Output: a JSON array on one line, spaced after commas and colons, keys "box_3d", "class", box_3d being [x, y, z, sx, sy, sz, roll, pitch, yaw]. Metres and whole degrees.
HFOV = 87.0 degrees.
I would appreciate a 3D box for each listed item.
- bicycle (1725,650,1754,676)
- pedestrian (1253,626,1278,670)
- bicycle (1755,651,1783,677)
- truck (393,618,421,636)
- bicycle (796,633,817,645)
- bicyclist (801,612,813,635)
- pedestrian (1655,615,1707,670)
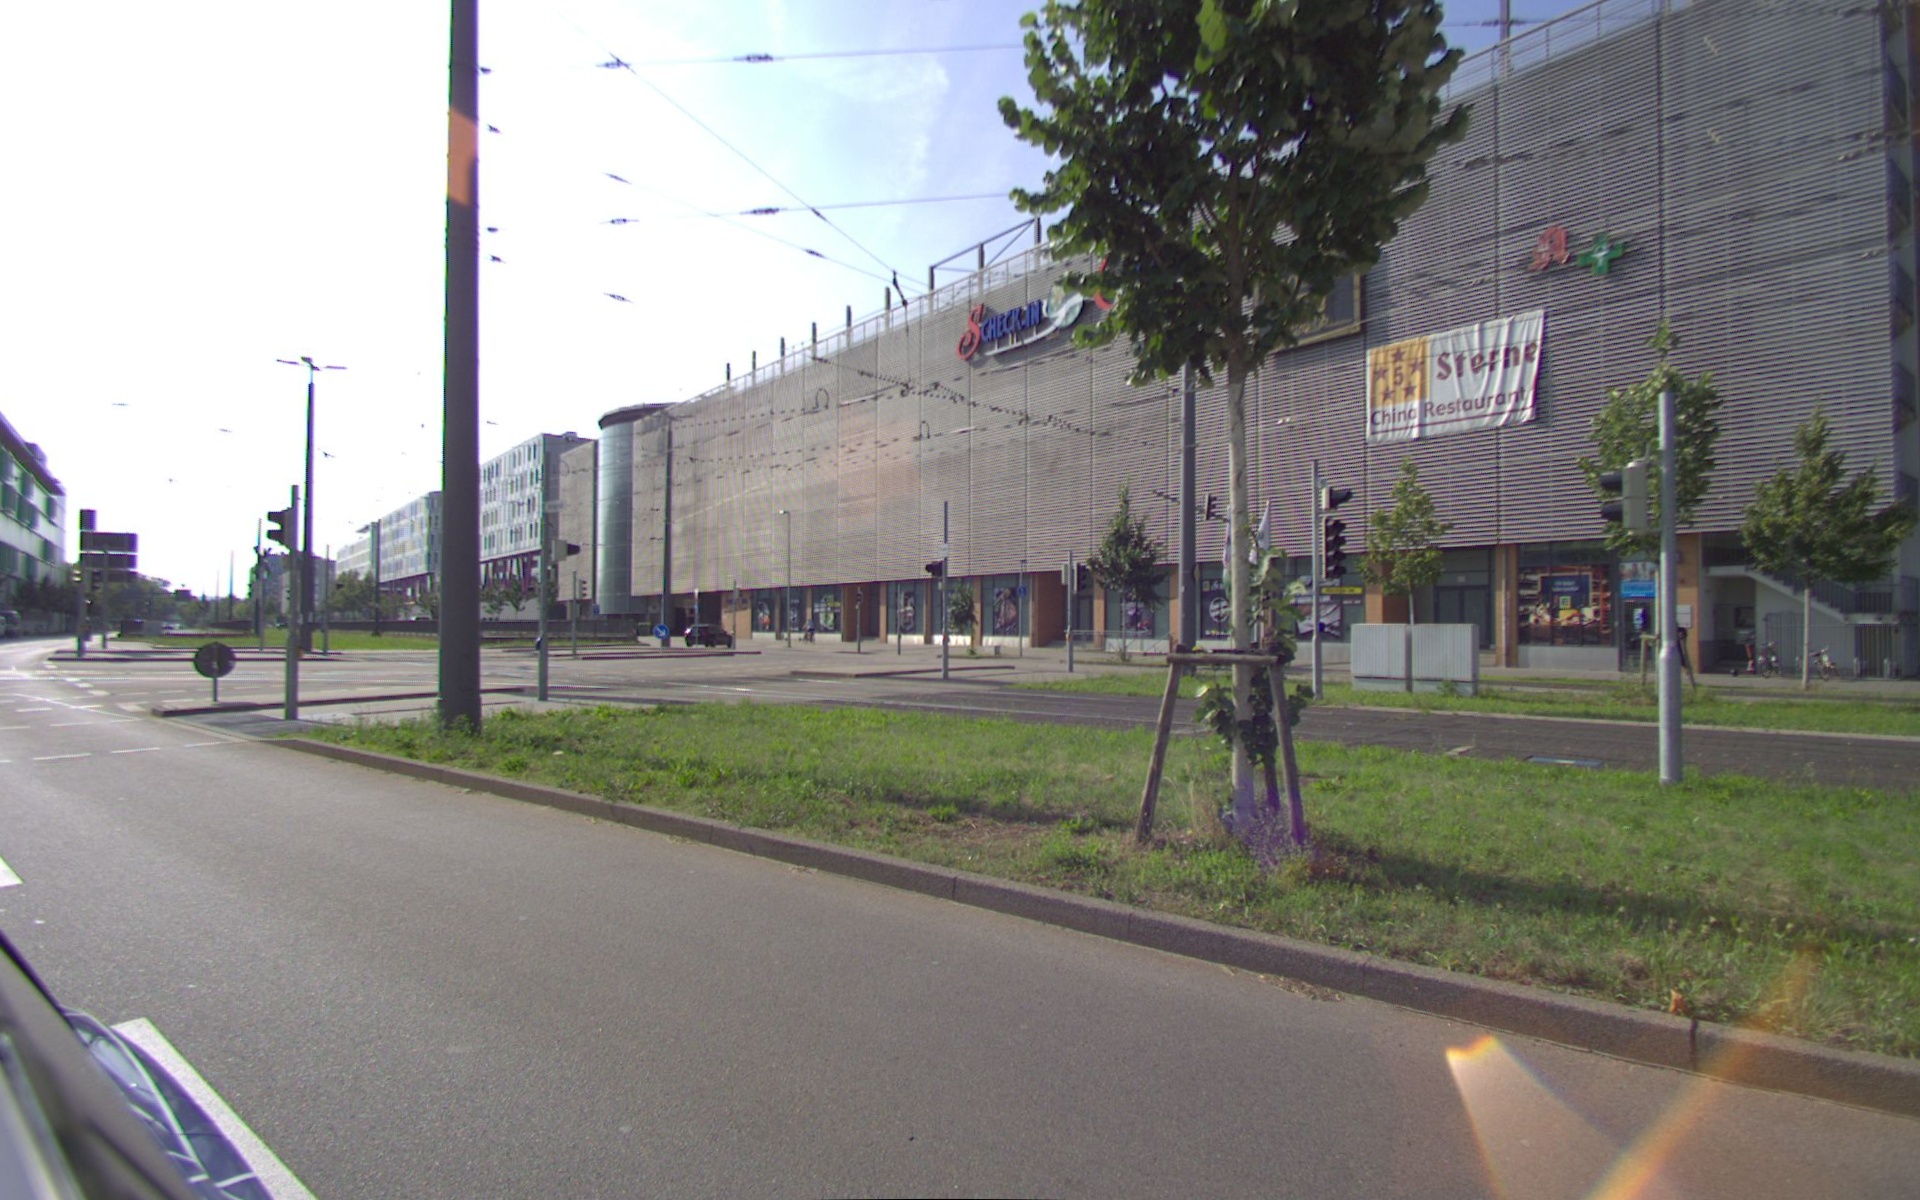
[{"box_3d": [24.229, 1.953, 31.455, 0.990, 0.758, 0.453, 1, -2, -38], "class": "bicycle"}, {"box_3d": [11.163, 1.734, 36.979, 0.752, 1.591, 0.590, 2, -2, -43], "class": "pedestrian"}, {"box_3d": [24.722, 1.940, 30.922, 0.990, 0.758, 0.453, 1, -2, -38], "class": "bicycle"}, {"box_3d": [-73.310, 3.617, 134.126, 2.174, 2.339, 4.555, 1, -2, -43], "class": "truck"}, {"box_3d": [-10.753, 2.728, 70.912, 0.573, 0.785, 1.872, 1, -2, -39], "class": "bicycle"}, {"box_3d": [-10.723, 1.642, 70.922, 0.560, 1.642, 0.715, 2, -1, -40], "class": "bicyclist"}, {"box_3d": [23.254, 1.349, 32.657, 0.807, 1.732, 1.179, 1, -2, -38], "class": "pedestrian"}]
